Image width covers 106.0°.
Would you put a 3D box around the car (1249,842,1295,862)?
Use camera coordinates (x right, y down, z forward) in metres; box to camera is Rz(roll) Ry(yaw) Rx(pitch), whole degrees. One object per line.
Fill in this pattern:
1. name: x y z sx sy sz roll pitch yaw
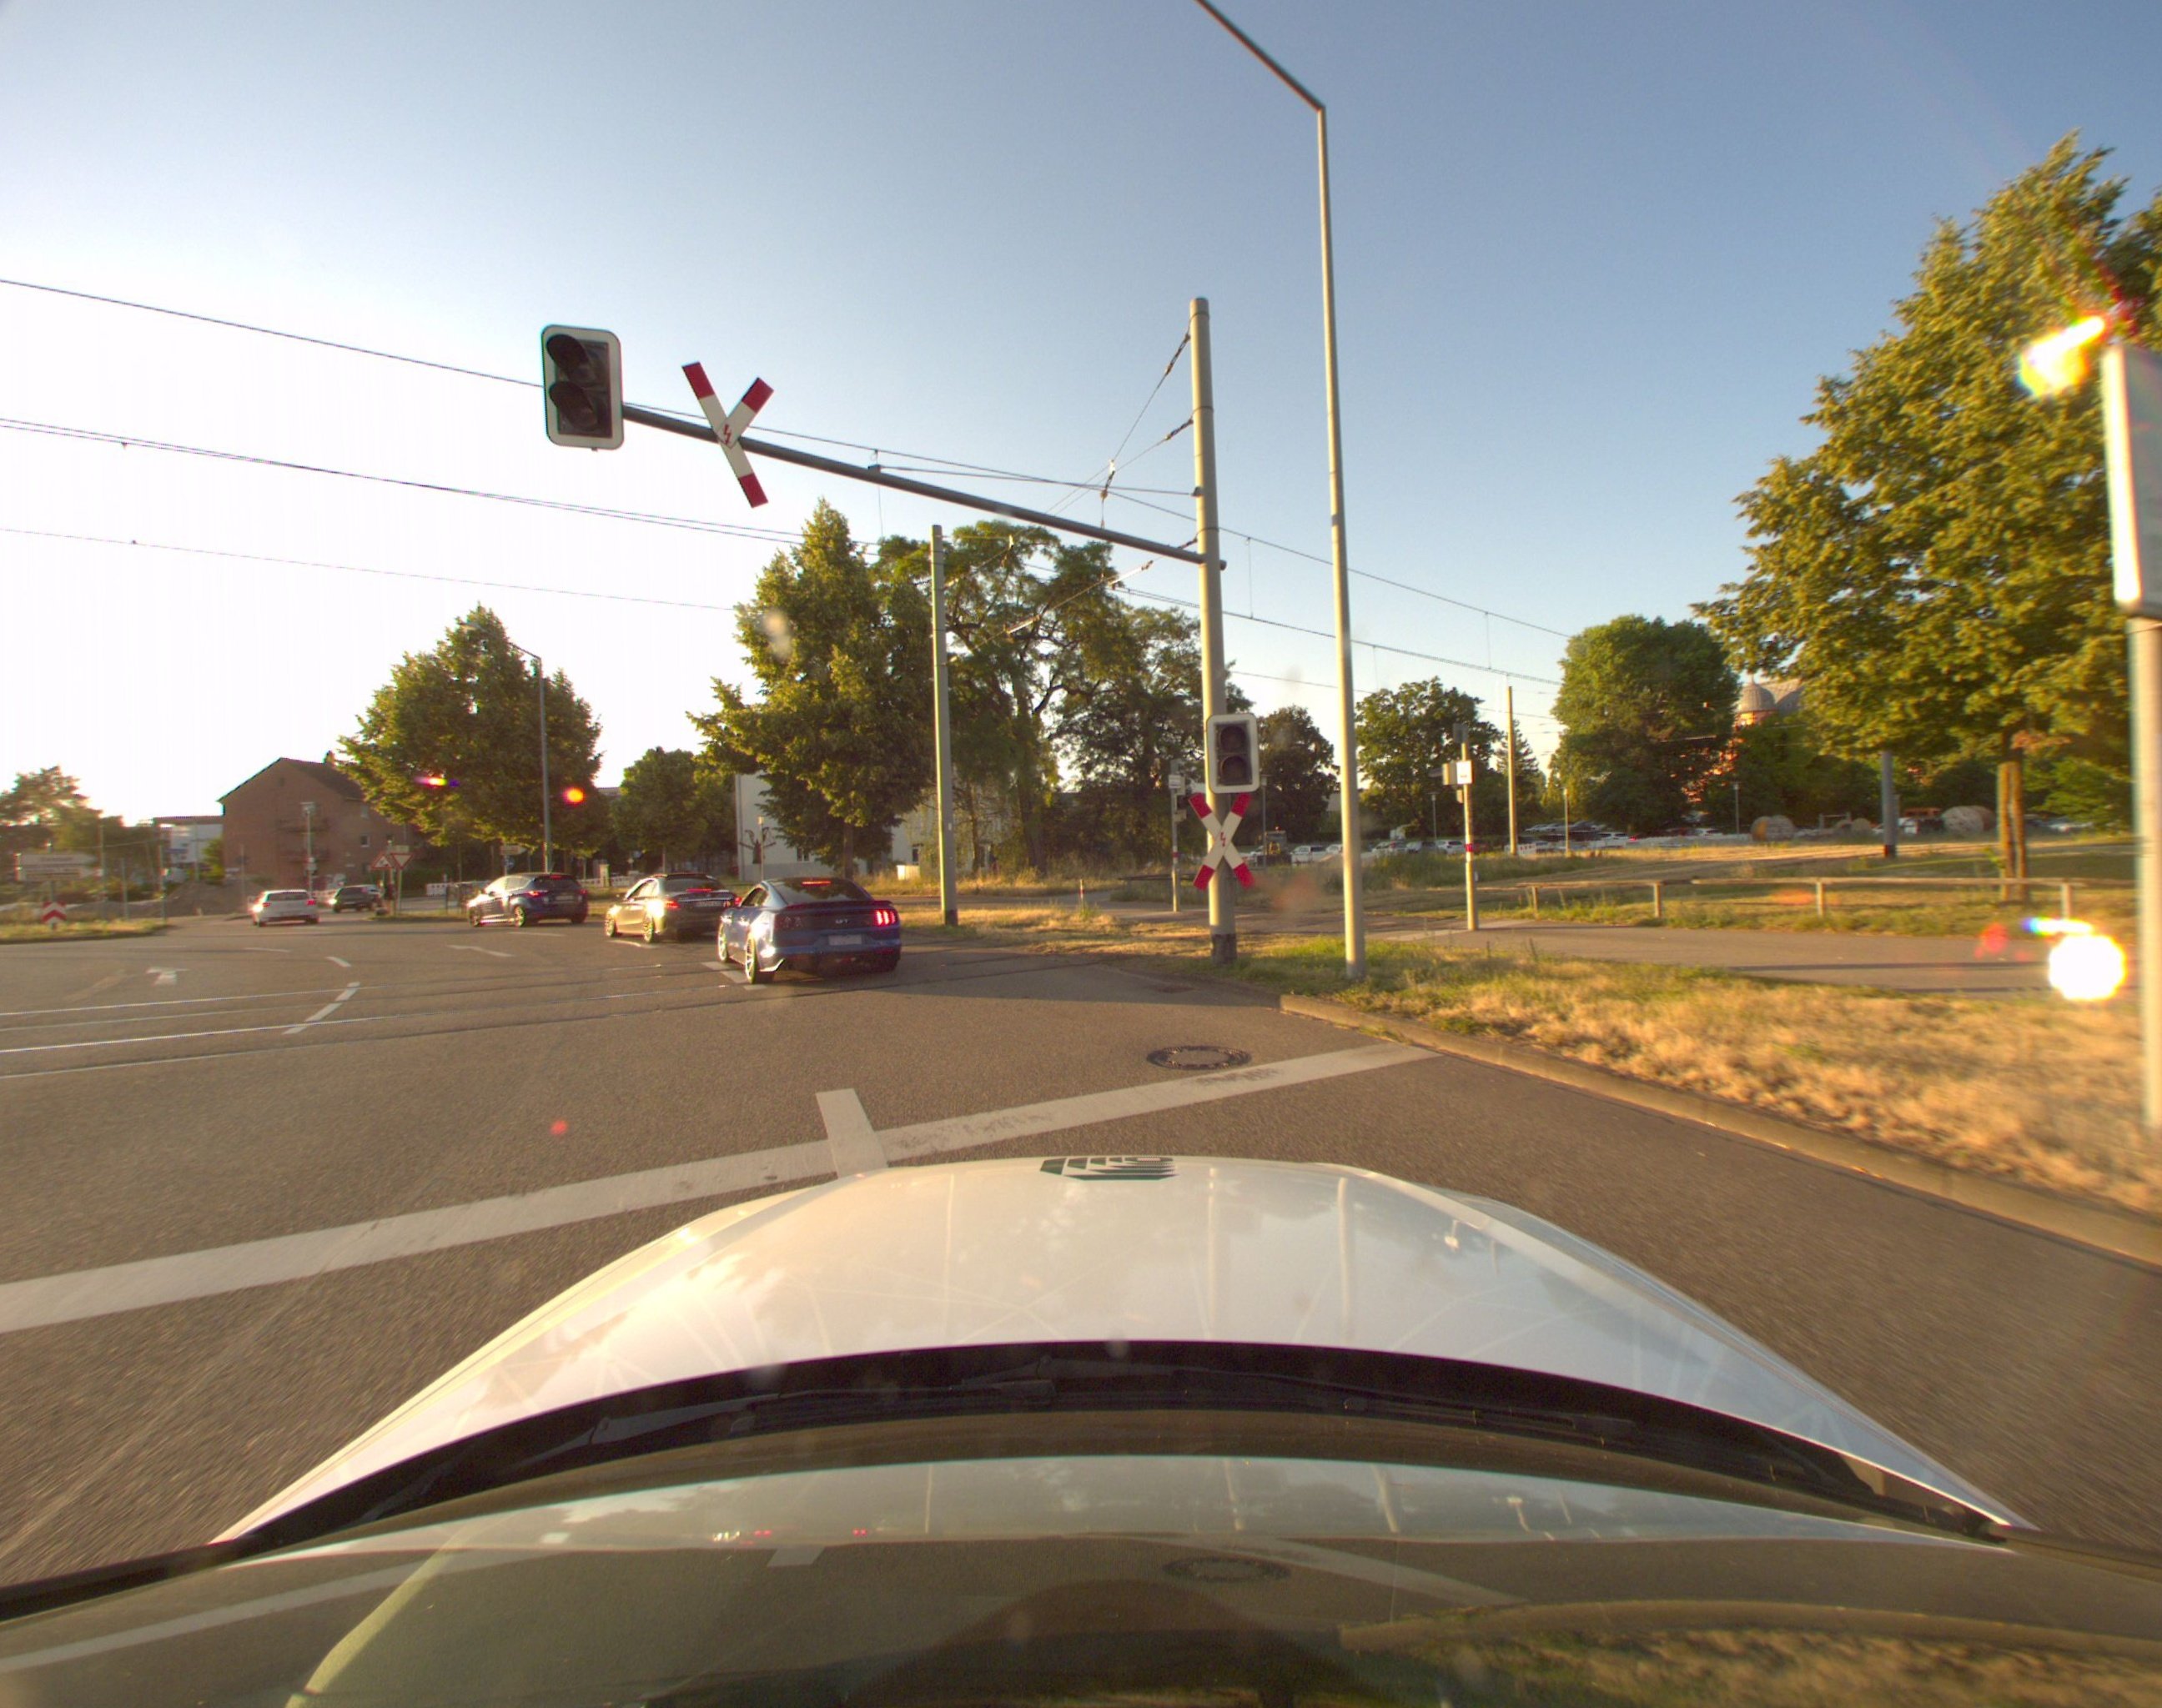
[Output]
1. car: 14.933 -0.140 63.863 1.949 1.445 3.982 -2 0 -13

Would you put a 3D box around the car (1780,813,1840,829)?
1. car: 65.635 -2.951 73.372 1.798 1.354 3.659 -1 1 -17

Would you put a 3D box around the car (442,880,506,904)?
1. car: -42.828 2.657 57.563 1.874 1.401 3.907 -2 1 -7

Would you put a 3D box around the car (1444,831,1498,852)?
1. car: 32.180 -0.984 67.241 1.900 1.553 3.982 -2 0 -13

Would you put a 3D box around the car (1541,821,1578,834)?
1. car: 65.750 -3.640 111.939 3.987 1.553 1.897 -2 0 -10

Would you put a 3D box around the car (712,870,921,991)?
1. car: -4.110 0.950 12.070 1.964 1.342 4.625 -1 0 -31

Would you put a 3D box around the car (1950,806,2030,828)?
1. car: 67.174 -2.721 60.275 1.709 1.481 3.592 -1 1 -16

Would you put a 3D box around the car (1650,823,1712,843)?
1. car: 51.600 -1.788 70.093 1.900 1.553 3.982 -2 0 -13

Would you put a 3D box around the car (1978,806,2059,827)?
1. car: 69.990 -2.768 60.864 1.709 1.481 3.592 -1 1 -16

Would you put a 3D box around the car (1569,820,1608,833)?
1. car: 66.480 -3.590 106.689 3.987 1.553 1.897 -2 0 -10

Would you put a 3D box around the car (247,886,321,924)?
1. car: -32.618 2.112 33.409 1.892 1.402 3.869 1 -6 -41

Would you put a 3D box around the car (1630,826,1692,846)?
1. car: 49.395 -1.535 69.436 1.900 1.553 3.982 -2 0 -13

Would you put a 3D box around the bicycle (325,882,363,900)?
1. bicycle: -53.230 2.628 58.853 0.751 1.167 2.403 -2 0 -7

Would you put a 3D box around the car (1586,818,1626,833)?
1. car: 66.830 -3.589 103.680 3.989 1.744 1.993 -2 1 -11

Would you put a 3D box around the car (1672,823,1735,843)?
1. car: 53.984 -1.804 70.718 1.900 1.553 3.982 -2 0 -13

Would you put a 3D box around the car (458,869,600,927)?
1. car: -16.950 1.335 24.981 4.025 1.602 1.970 -2 -1 29

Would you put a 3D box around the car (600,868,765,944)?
1. car: -8.981 1.076 18.189 4.374 1.427 1.969 -2 -1 45

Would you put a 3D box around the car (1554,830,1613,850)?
1. car: 42.151 -1.169 68.386 1.900 1.553 3.982 -2 0 -13

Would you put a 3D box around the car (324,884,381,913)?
1. car: -40.840 2.480 45.733 1.890 1.401 3.873 -3 0 -36

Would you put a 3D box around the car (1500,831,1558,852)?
1. car: 37.144 -1.030 67.643 1.900 1.553 4.080 -2 0 -13

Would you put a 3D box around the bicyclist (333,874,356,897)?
1. bicyclist: -53.220 2.282 58.856 0.751 1.612 0.975 -2 0 -7

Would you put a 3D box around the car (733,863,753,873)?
1. car: -50.929 2.107 122.661 1.875 1.401 3.904 -2 1 -9

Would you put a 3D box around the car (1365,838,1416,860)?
1. car: 25.028 -0.390 65.930 1.949 1.662 3.982 -2 0 -13

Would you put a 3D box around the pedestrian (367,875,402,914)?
1. pedestrian: -31.666 1.843 37.035 0.886 1.686 0.842 -2 0 -15

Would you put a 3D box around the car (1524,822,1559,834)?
1. car: 65.147 -3.691 115.303 3.987 1.553 1.897 -2 0 -10

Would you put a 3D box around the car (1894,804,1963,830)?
1. car: 78.365 -3.411 75.382 1.900 2.095 3.982 -2 0 -13

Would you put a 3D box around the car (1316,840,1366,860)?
1. car: 20.498 -0.313 64.282 1.949 1.445 3.982 -2 0 -13

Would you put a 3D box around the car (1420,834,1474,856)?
1. car: 29.760 -0.738 66.295 1.949 1.662 3.982 -2 0 -13

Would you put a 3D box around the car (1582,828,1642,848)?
1. car: 44.811 -1.311 68.815 1.900 1.553 3.982 -2 0 -13

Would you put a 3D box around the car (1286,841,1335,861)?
1. car: 18.013 -0.192 64.102 1.949 1.445 3.982 -2 0 -13

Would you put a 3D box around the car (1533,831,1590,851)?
1. car: 40.017 -1.048 67.917 1.900 1.553 3.982 -2 0 -13

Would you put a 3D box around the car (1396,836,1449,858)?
1. car: 27.570 -0.570 65.918 1.949 1.662 3.982 -2 0 -13
